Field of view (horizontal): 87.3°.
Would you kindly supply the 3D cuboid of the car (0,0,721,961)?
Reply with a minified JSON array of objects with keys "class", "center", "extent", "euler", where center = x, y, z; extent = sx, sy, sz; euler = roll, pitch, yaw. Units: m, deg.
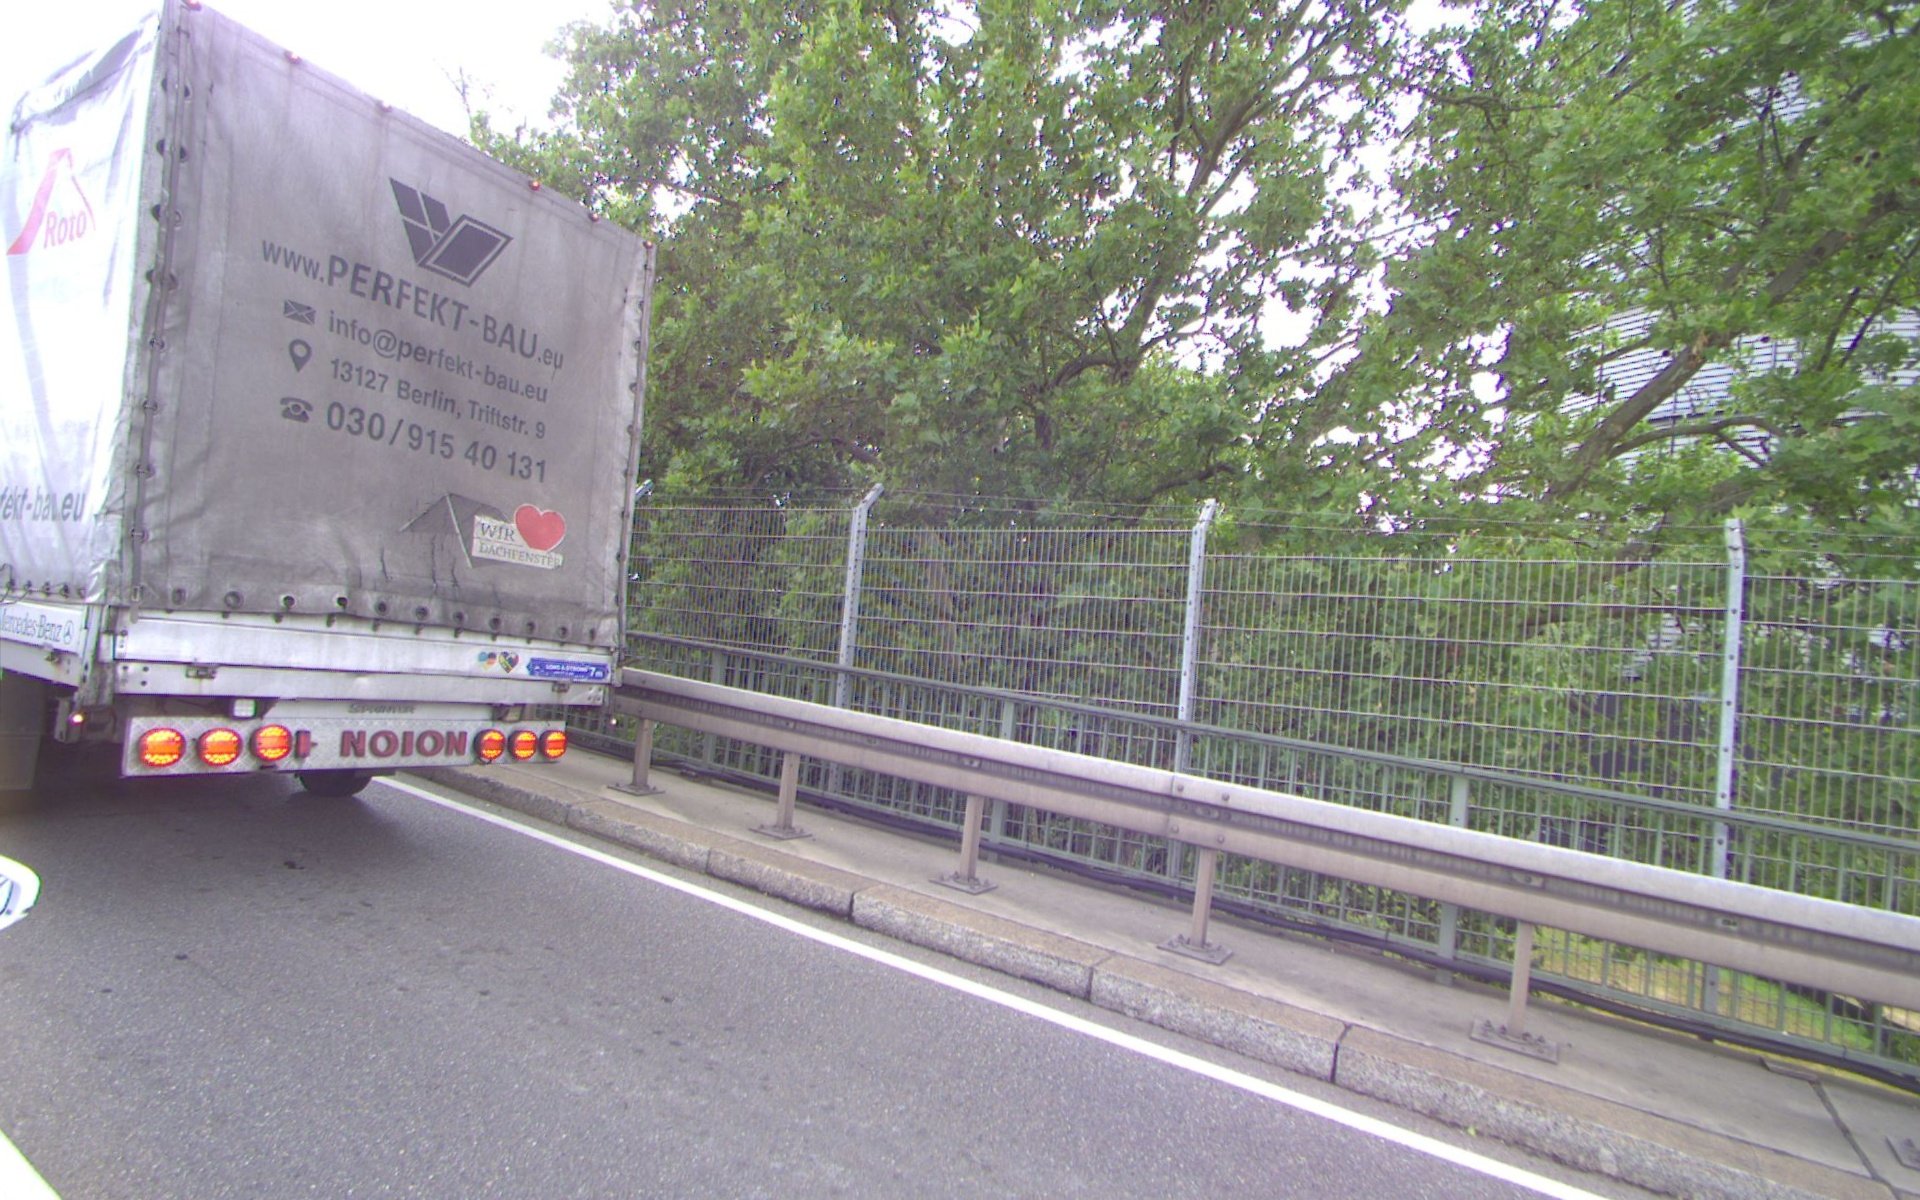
[{"class":"car","center":[-5.136,-0.692,6.256],"extent":[6.974,3.369,2.663],"euler":[6,-1,32]}]
